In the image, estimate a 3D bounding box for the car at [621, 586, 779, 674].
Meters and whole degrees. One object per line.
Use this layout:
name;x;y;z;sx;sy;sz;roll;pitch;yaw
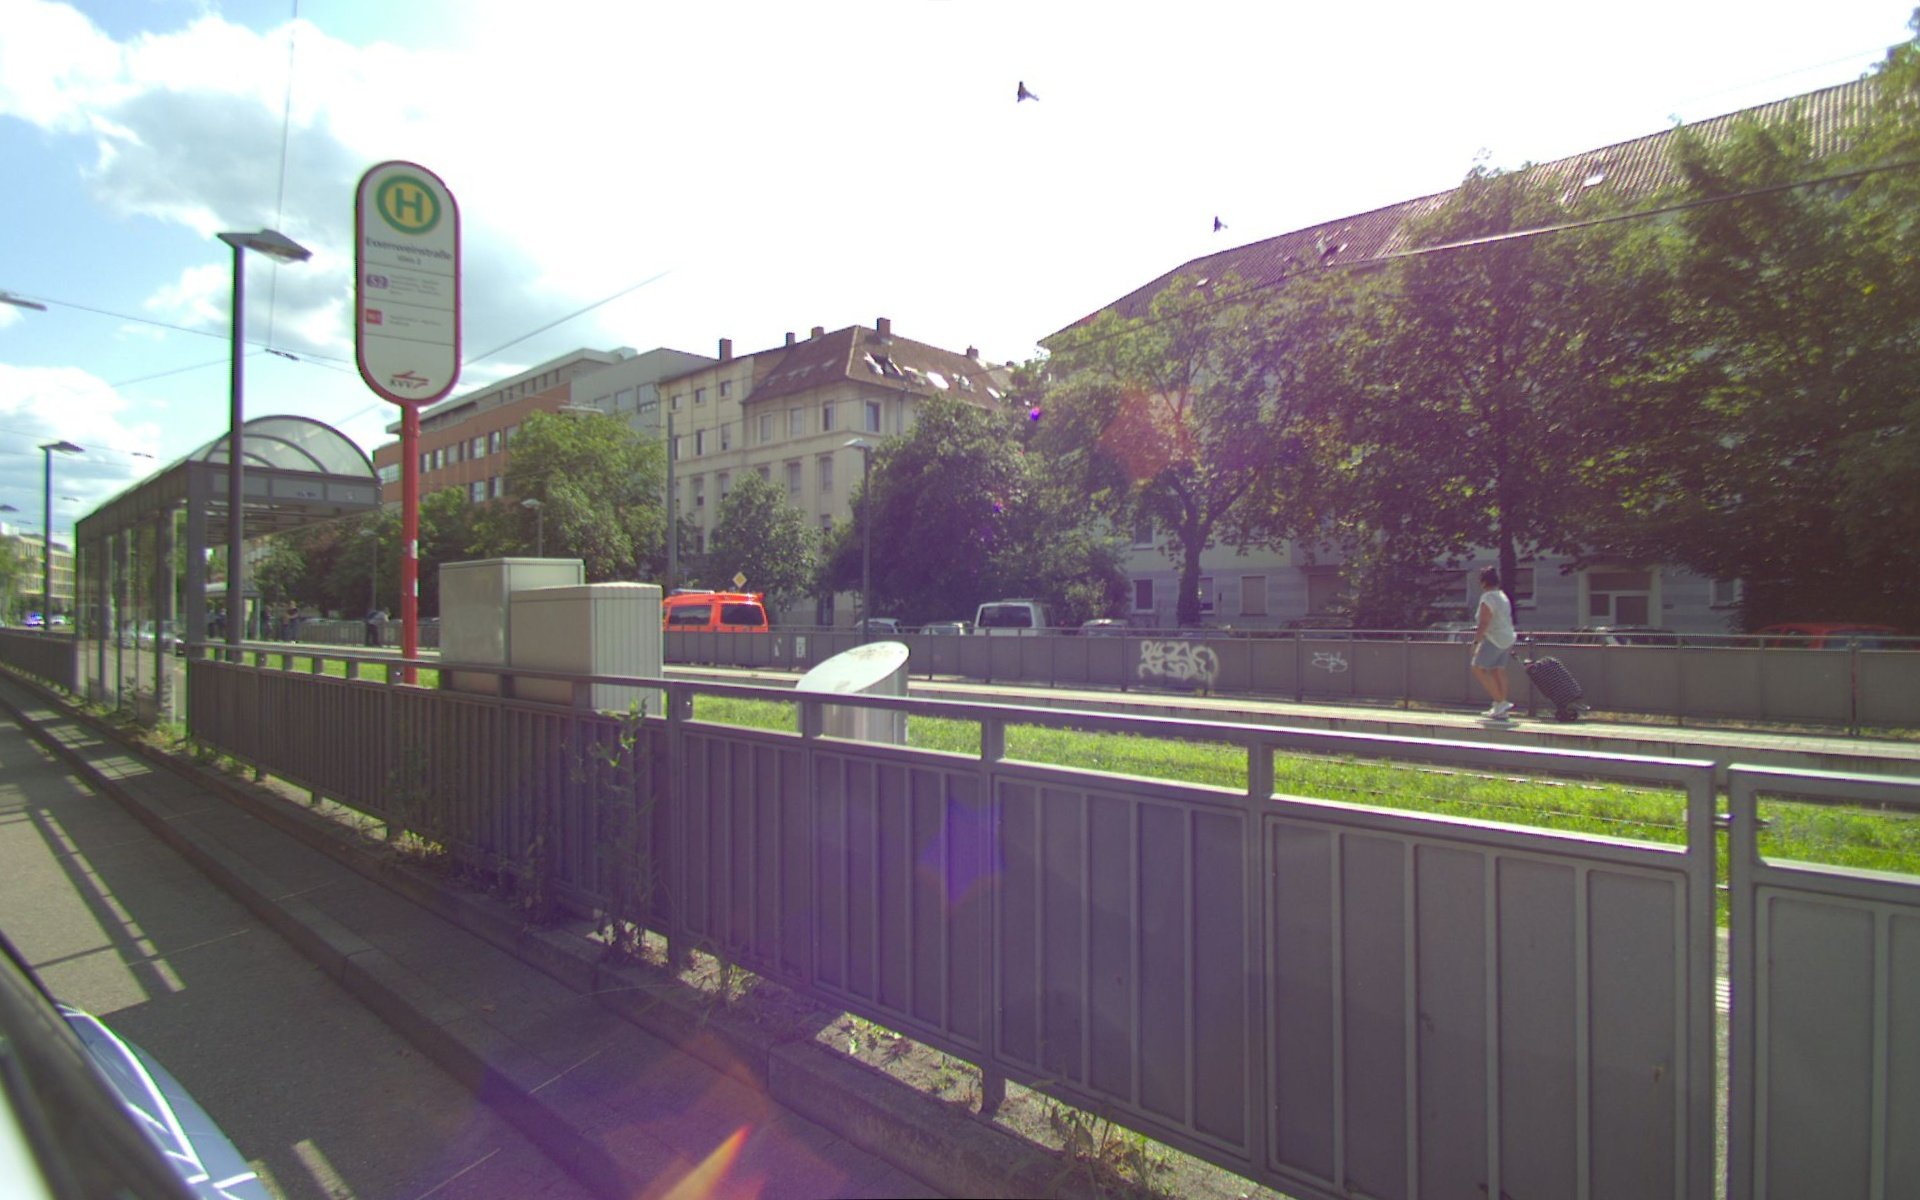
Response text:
car;-7.418;0.899;28.644;4.833;2.293;1.972;-2;-5;43

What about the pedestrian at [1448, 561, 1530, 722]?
pedestrian;5.763;0.445;11.029;0.632;1.677;0.653;-1;-2;42

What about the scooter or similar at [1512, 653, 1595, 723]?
scooter or similar;6.394;0.933;10.909;0.700;0.704;0.438;-1;-2;42

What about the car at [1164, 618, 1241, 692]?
car;5.685;1.245;23.969;1.632;1.591;3.652;-1;-1;12

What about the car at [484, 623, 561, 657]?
car;-21.540;1.942;49.990;1.901;1.576;4.150;1;-1;2

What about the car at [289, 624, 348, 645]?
car;-47.965;2.550;75.714;1.631;1.508;3.993;-1;-1;6

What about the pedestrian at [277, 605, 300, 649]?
pedestrian;-29.873;1.204;45.015;0.742;1.906;0.639;1;1;-45

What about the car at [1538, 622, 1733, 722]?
car;11.908;1.194;18.131;1.632;1.591;3.652;-1;-1;12

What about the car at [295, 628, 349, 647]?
car;-45.809;2.667;72.736;1.585;1.314;3.244;-1;-1;8

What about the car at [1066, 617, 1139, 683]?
car;3.804;1.257;26.524;1.701;1.591;3.937;-1;-1;11

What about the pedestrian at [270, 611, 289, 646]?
pedestrian;-32.729;1.361;48.689;0.625;1.687;0.600;-1;-1;43

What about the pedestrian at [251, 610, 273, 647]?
pedestrian;-33.265;1.359;48.237;0.599;1.767;0.626;0;-1;-6

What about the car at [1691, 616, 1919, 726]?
car;13.825;1.067;16.552;1.632;1.591;3.652;-1;-1;12

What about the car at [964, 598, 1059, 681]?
car;1.500;1.056;27.816;2.029;2.086;3.937;-1;-1;12

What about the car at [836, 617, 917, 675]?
car;-2.543;1.401;31.847;1.805;1.652;3.992;-2;-1;6

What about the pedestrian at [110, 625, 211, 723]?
pedestrian;-9.197;0.840;11.666;0.652;1.080;0.725;0;-2;-13

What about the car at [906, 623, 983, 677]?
car;-0.395;1.450;30.197;1.591;1.497;3.988;-1;-1;9

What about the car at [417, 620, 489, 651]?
car;-28.399;1.956;56.822;1.811;1.652;4.132;1;-1;3

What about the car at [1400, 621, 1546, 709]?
car;9.852;1.172;19.743;1.593;1.525;4.011;0;-1;13

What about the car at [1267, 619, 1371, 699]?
car;7.740;1.227;22.112;1.632;1.591;3.652;-1;-1;12

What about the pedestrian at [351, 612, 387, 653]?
pedestrian;-22.965;1.248;39.302;0.798;1.590;0.978;-1;-1;40
